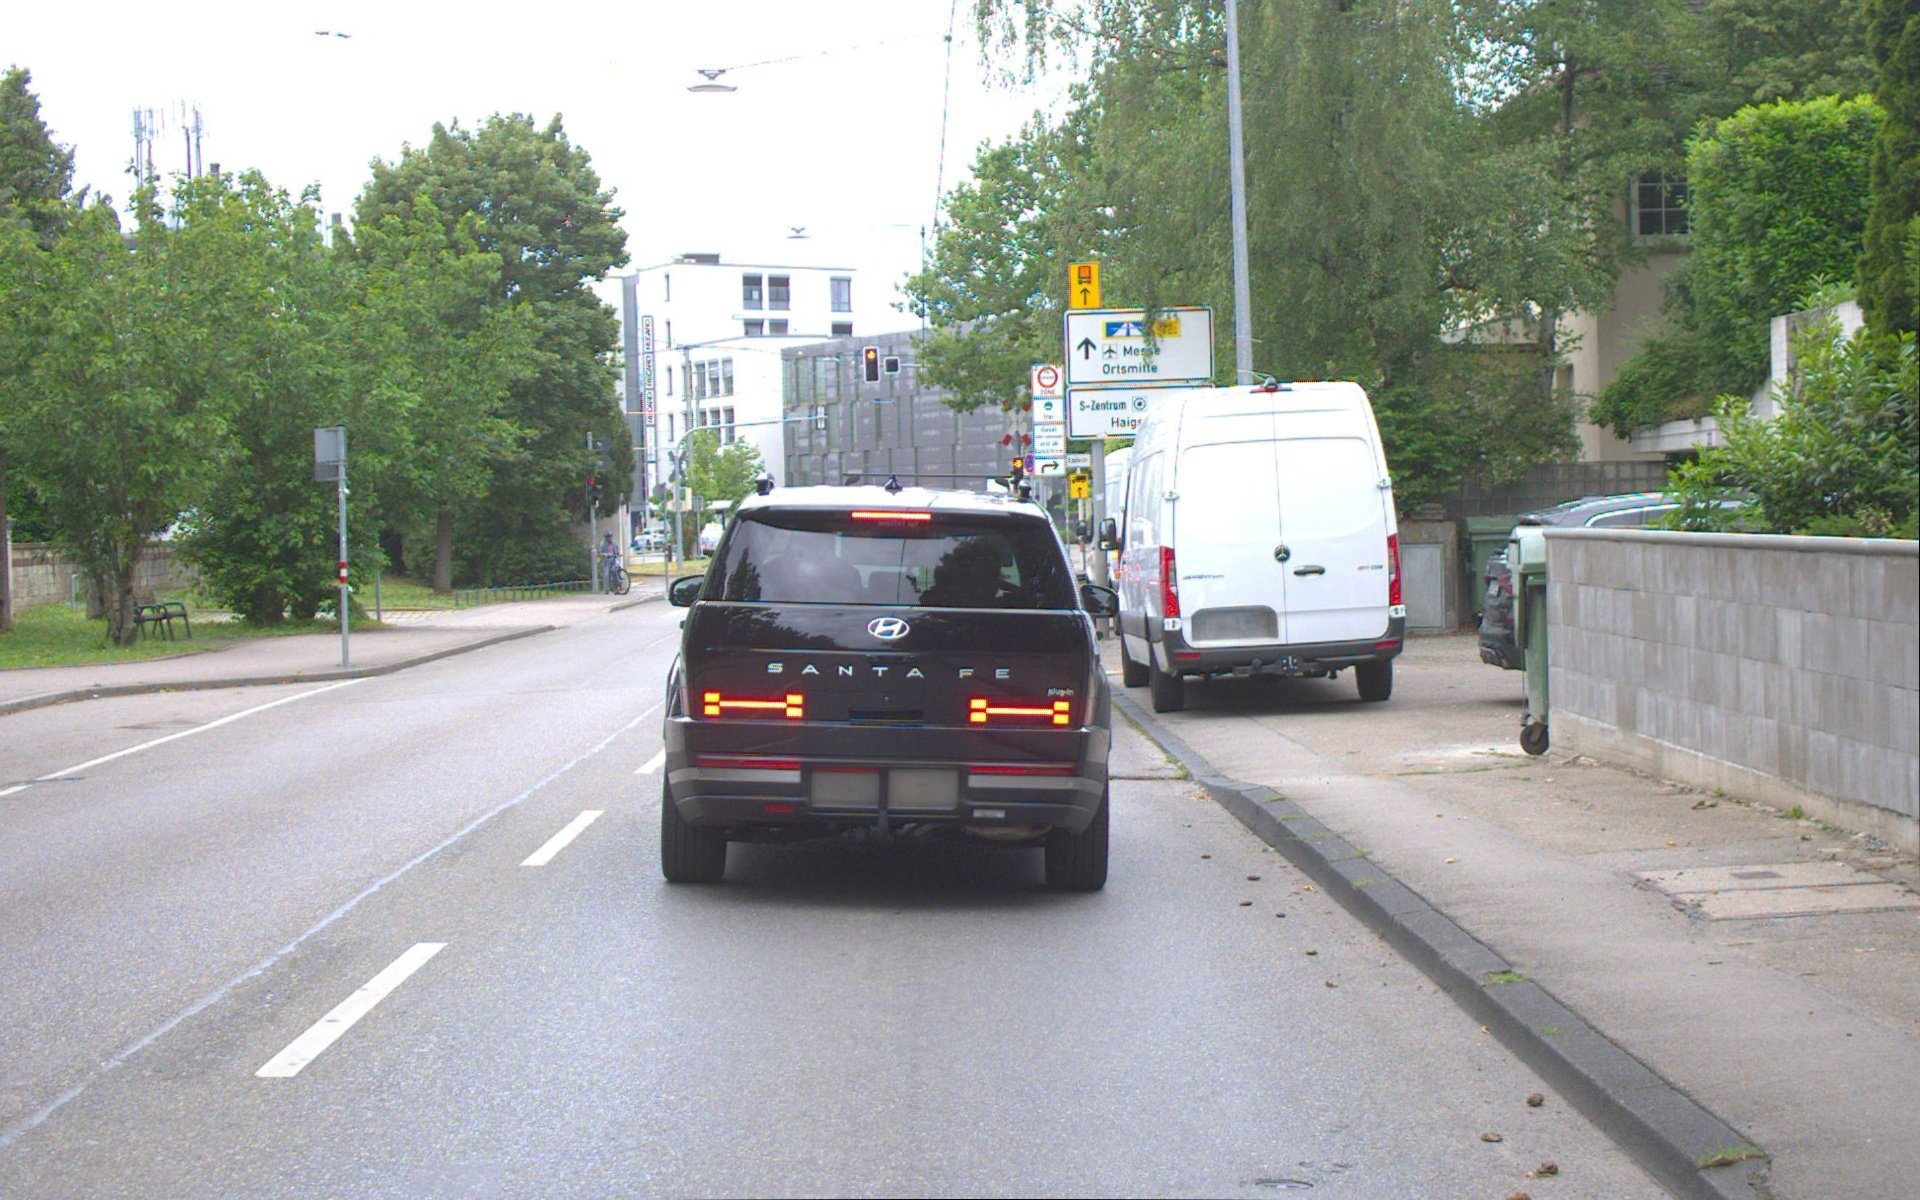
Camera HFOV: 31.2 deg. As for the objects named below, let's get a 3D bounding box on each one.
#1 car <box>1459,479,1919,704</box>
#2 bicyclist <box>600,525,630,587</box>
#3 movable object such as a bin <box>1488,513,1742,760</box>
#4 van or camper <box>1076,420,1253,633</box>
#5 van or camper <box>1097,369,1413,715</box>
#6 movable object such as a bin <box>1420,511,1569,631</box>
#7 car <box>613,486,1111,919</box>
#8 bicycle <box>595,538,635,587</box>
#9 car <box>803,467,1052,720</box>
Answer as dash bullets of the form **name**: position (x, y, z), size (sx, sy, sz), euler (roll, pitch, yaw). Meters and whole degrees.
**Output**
- **car**: position (6.321, -0.100, 27.462), size (4.394, 1.646, 1.830), euler (-2, 1, 1)
- **bicyclist**: position (-9.262, -1.180, 92.284), size (0.675, 1.653, 0.859), euler (1, -1, -14)
- **movable object such as a bin**: position (4.048, 0.209, 21.344), size (1.299, 1.445, 1.181), euler (-2, 1, 0)
- **van or camper**: position (2.849, -1.054, 49.024), size (1.963, 2.787, 5.287), euler (-3, 1, -1)
- **van or camper**: position (2.450, -0.527, 30.202), size (1.963, 2.619, 6.359), euler (-3, 1, -1)
- **movable object such as a bin**: position (6.707, -0.377, 43.239), size (1.449, 1.468, 1.718), euler (0, 1, -6)
- **car**: position (-0.409, 0.363, 15.607), size (1.963, 1.705, 4.000), euler (0, 1, -1)
- **bicycle**: position (-9.262, -1.006, 92.254), size (0.675, 1.275, 2.502), euler (1, 0, -14)
- **car**: position (-0.302, -0.092, 29.252), size (1.963, 1.994, 4.000), euler (0, 1, -1)
